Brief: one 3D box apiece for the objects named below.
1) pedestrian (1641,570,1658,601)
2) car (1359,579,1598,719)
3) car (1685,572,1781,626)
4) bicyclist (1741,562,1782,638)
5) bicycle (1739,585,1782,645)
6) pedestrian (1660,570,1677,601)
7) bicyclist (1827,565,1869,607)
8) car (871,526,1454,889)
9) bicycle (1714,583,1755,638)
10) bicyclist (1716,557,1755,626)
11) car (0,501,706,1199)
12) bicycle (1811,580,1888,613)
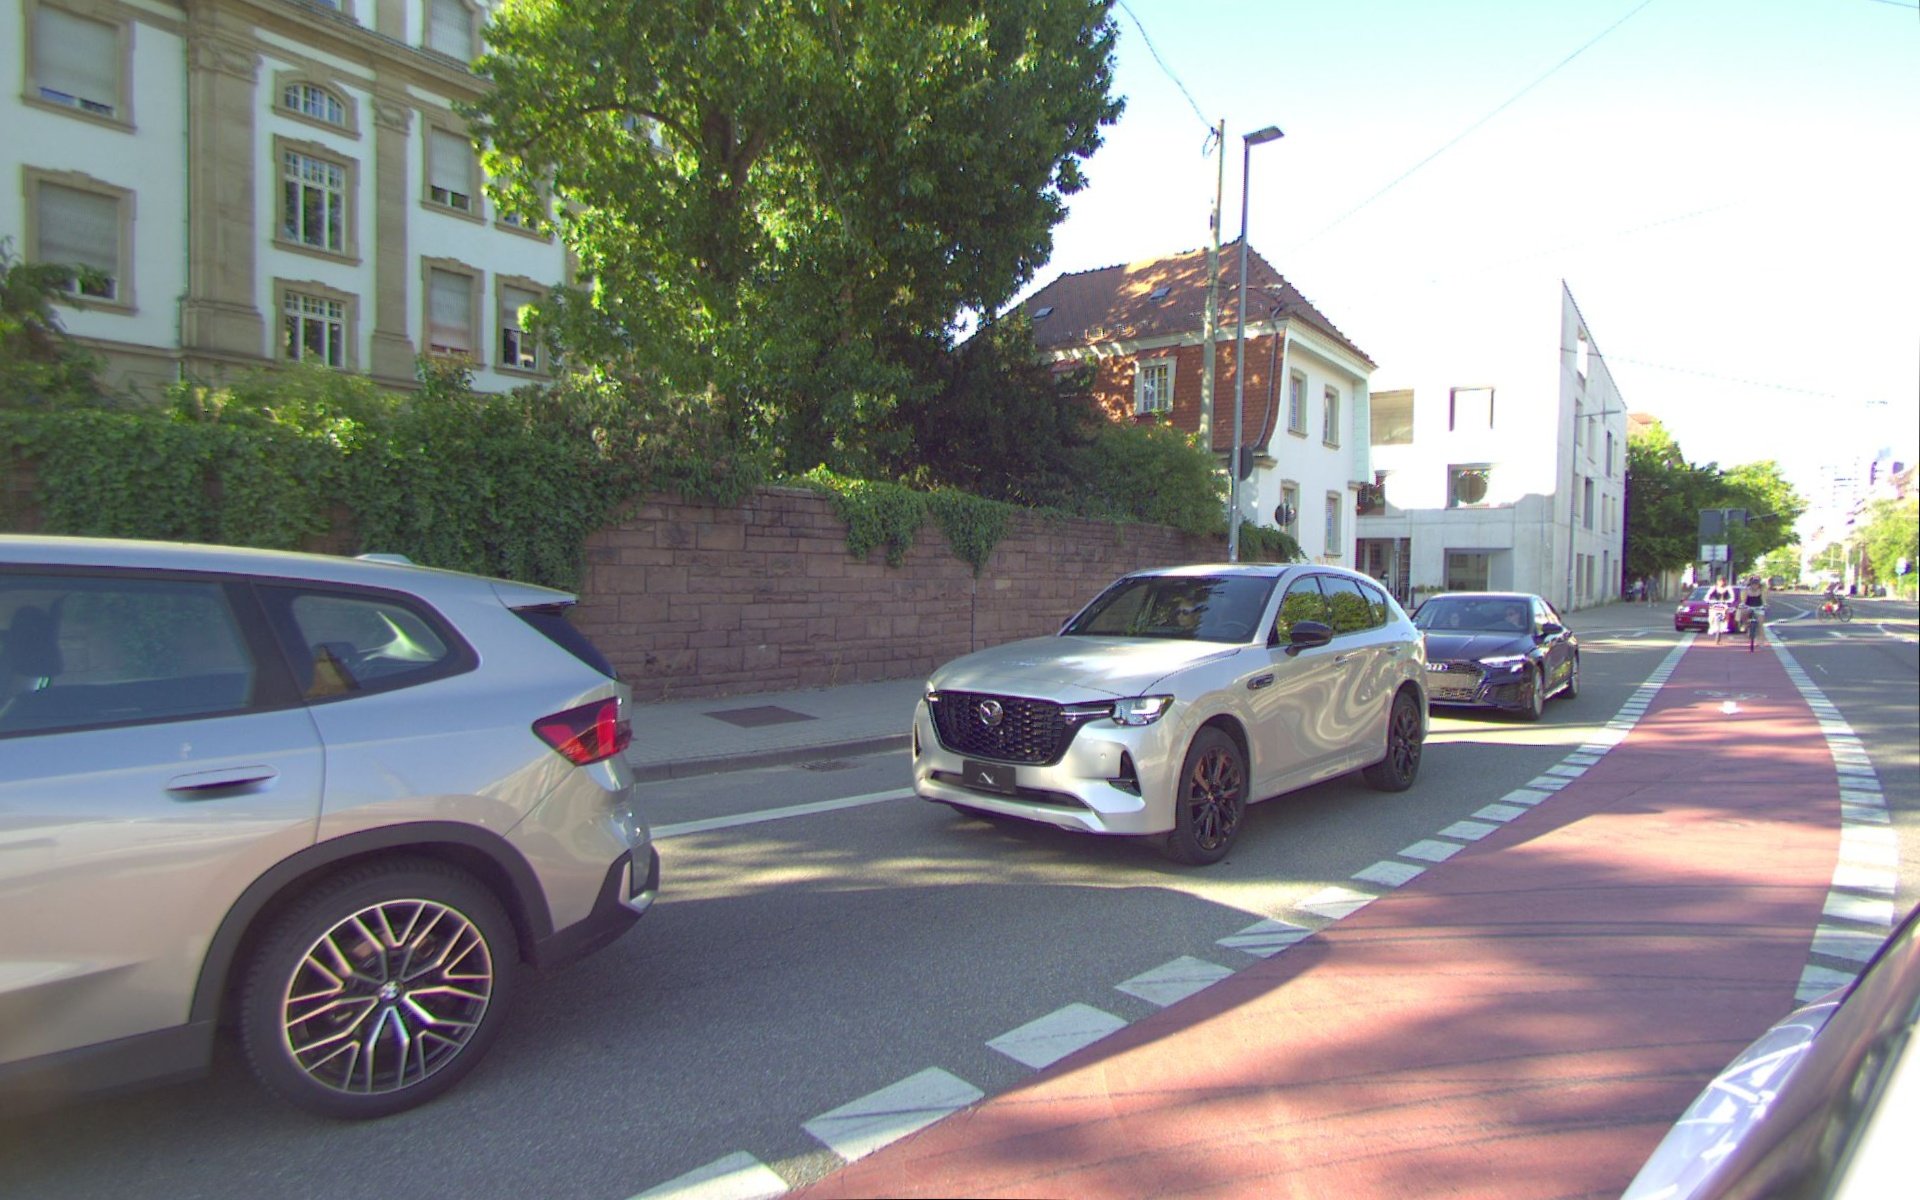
[{"bbox_3d":[38.402,-0.811,56.339,0.673,1.668,0.806,1,1,40],"label":"pedestrian"},{"bbox_3d":[6.549,0.482,12.578,1.782,1.451,3.941,0,1,41],"label":"car"},{"bbox_3d":[24.077,-0.057,31.498,3.586,1.580,1.648,-1,1,-40],"label":"car"},{"bbox_3d":[18.207,-0.020,22.985,0.673,1.667,1.014,2,2,40],"label":"bicyclist"},{"bbox_3d":[18.244,0.305,23.053,0.673,1.265,2.421,2,2,40],"label":"bicycle"},{"bbox_3d":[39.092,-0.811,55.859,0.673,1.668,0.806,1,1,40],"label":"pedestrian"},{"bbox_3d":[35.772,-0.571,40.775,1.010,1.667,0.675,1,1,2],"label":"bicyclist"},{"bbox_3d":[1.687,0.474,7.082,1.940,1.713,4.460,0,1,44],"label":"car"},{"bbox_3d":[19.353,0.232,25.271,0.673,1.265,2.421,2,2,40],"label":"bicycle"},{"bbox_3d":[19.333,-0.216,25.223,0.673,1.667,1.014,2,2,40],"label":"bicyclist"},{"bbox_3d":[-3.067,0.579,2.797,4.248,1.614,1.792,-1,0,-36],"label":"car"},{"bbox_3d":[35.824,-0.133,40.782,2.411,1.266,0.676,1,2,3],"label":"bicycle"}]
